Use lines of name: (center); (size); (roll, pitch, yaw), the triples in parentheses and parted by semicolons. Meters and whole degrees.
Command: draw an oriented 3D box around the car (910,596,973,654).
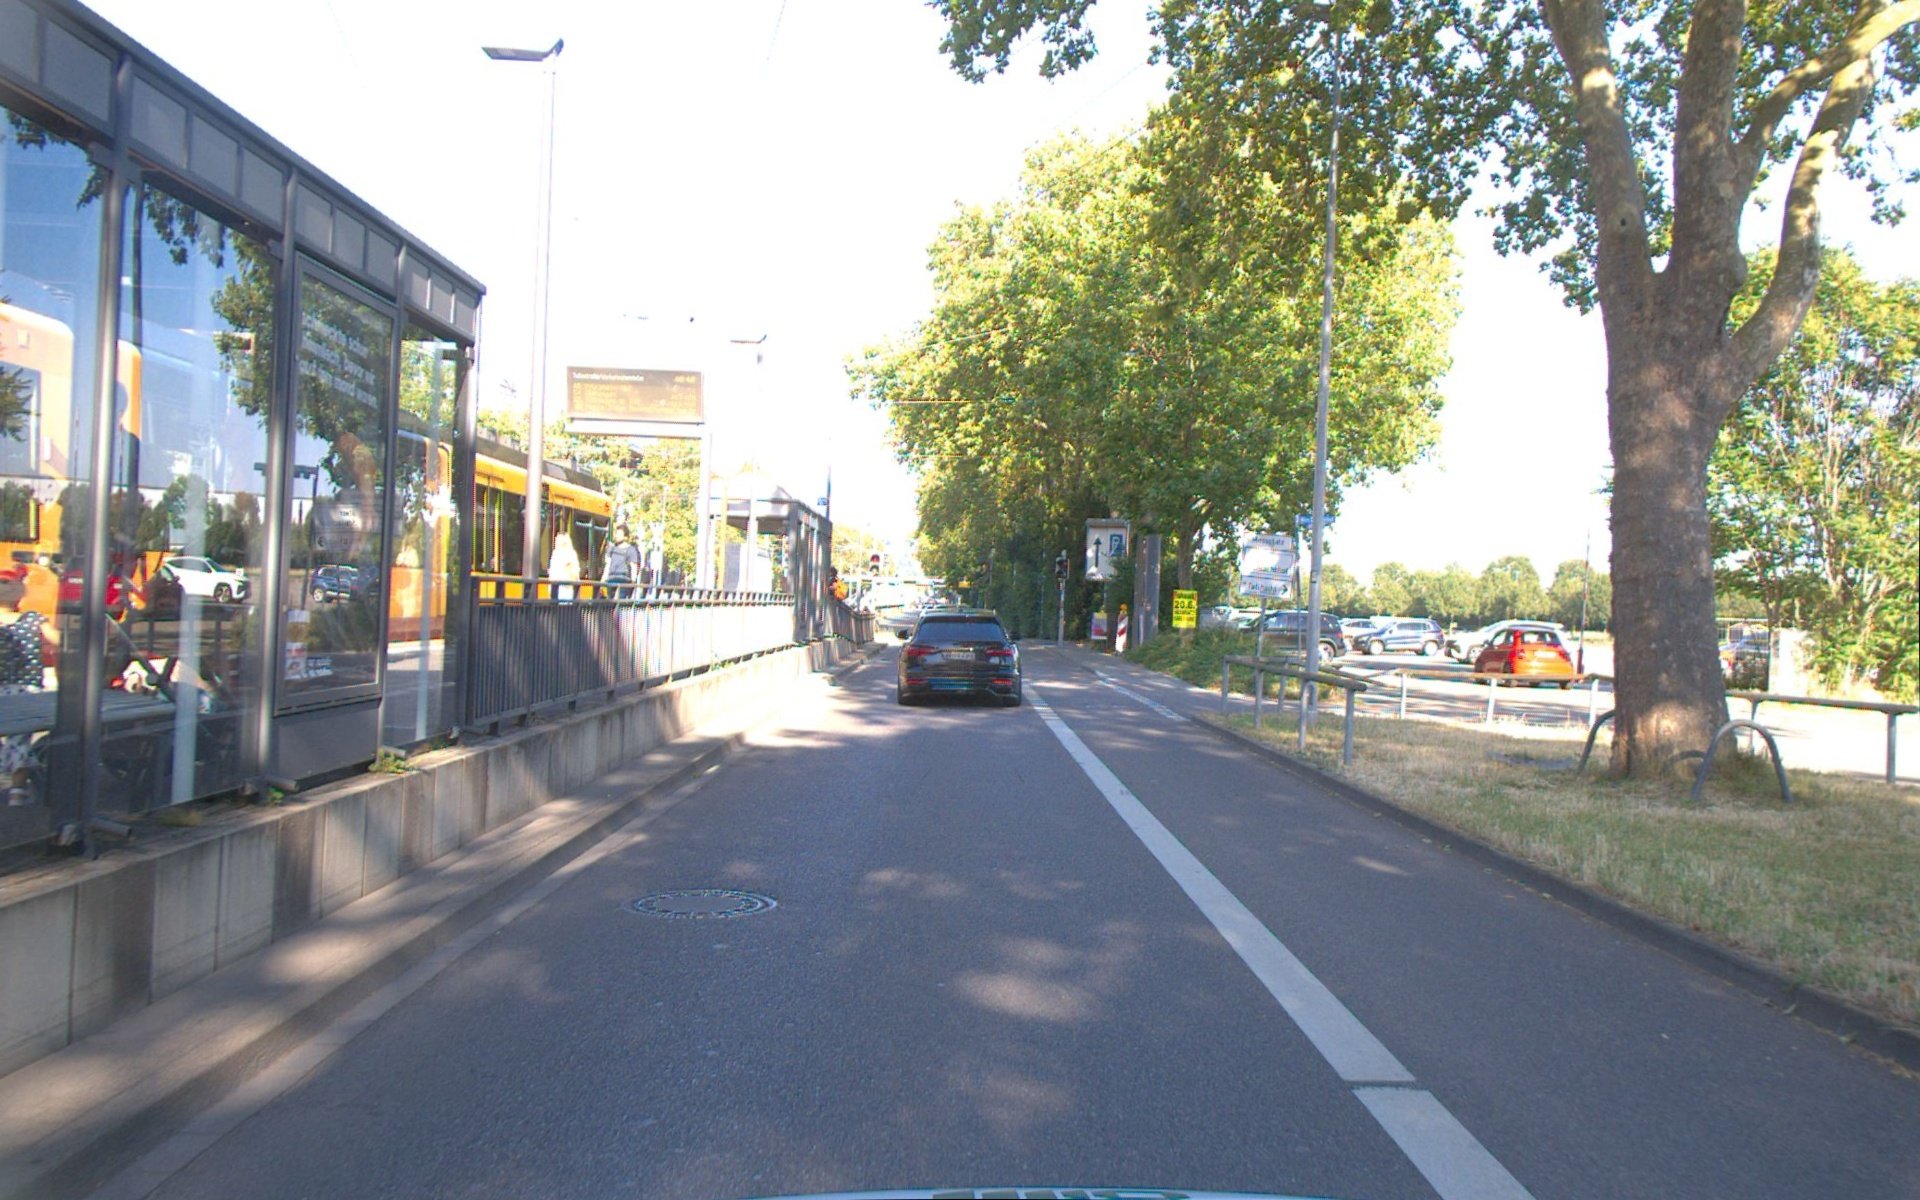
car: (-0.619, 0.738, 51.329); (1.727, 1.647, 3.998); (2, 0, -3)

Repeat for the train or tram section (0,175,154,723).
train or tram section: (-8.399, -1.128, 6.854); (3.242, 3.896, 14.215); (3, 0, -1)

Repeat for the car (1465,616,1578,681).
car: (14.674, 1.236, 43.424); (1.581, 1.542, 3.802); (2, 0, -1)

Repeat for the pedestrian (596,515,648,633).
pedestrian: (-5.123, -0.392, 25.082); (0.599, 1.743, 0.659); (3, 0, -3)

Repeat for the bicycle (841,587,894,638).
bicycle: (-3.313, 0.453, 59.499); (0.581, 1.746, 1.959); (2, 0, 44)

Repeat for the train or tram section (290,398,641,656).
train or tram section: (-8.883, -1.141, 31.843); (3.242, 3.896, 11.840); (3, 0, -1)

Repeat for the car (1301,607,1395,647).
car: (19.990, 1.386, 85.308); (4.267, 1.847, 1.998); (2, 0, -5)

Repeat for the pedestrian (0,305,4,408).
pedestrian: (-3.915, -0.208, 5.851); (0.597, 1.815, 0.681); (2, 0, -1)

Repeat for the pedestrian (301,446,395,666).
pedestrian: (-5.576, -0.392, 15.090); (0.541, 1.938, 0.644); (2, 0, -1)

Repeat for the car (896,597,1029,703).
car: (-0.032, 0.711, 25.343); (1.841, 1.482, 3.354); (1, 0, -3)

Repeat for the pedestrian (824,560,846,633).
pedestrian: (-3.041, -0.084, 40.300); (0.403, 1.746, 0.665); (2, 0, -1)

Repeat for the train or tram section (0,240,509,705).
train or tram section: (-8.656, -1.131, 19.934); (3.242, 3.896, 11.840); (3, 0, -1)

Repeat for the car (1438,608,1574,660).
car: (19.960, 1.226, 60.593); (4.365, 1.687, 1.918); (3, 0, 3)

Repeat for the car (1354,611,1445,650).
car: (20.523, 1.410, 77.343); (3.735, 1.637, 1.670); (2, 0, -1)

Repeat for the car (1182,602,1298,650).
car: (10.035, 0.910, 59.500); (3.806, 1.531, 1.888); (2, 0, 0)

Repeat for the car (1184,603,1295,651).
car: (9.635, 0.908, 57.271); (3.521, 1.488, 1.678); (2, 0, 0)

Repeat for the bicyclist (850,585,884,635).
bicyclist: (-3.353, 0.344, 59.477); (0.758, 1.746, 0.903); (2, 0, 44)

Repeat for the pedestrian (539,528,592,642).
pedestrian: (-6.191, -0.232, 25.959); (0.644, 1.743, 0.613); (2, 0, -4)

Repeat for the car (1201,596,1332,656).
car: (10.044, 0.842, 54.320); (3.906, 1.795, 1.833); (2, 0, 0)
